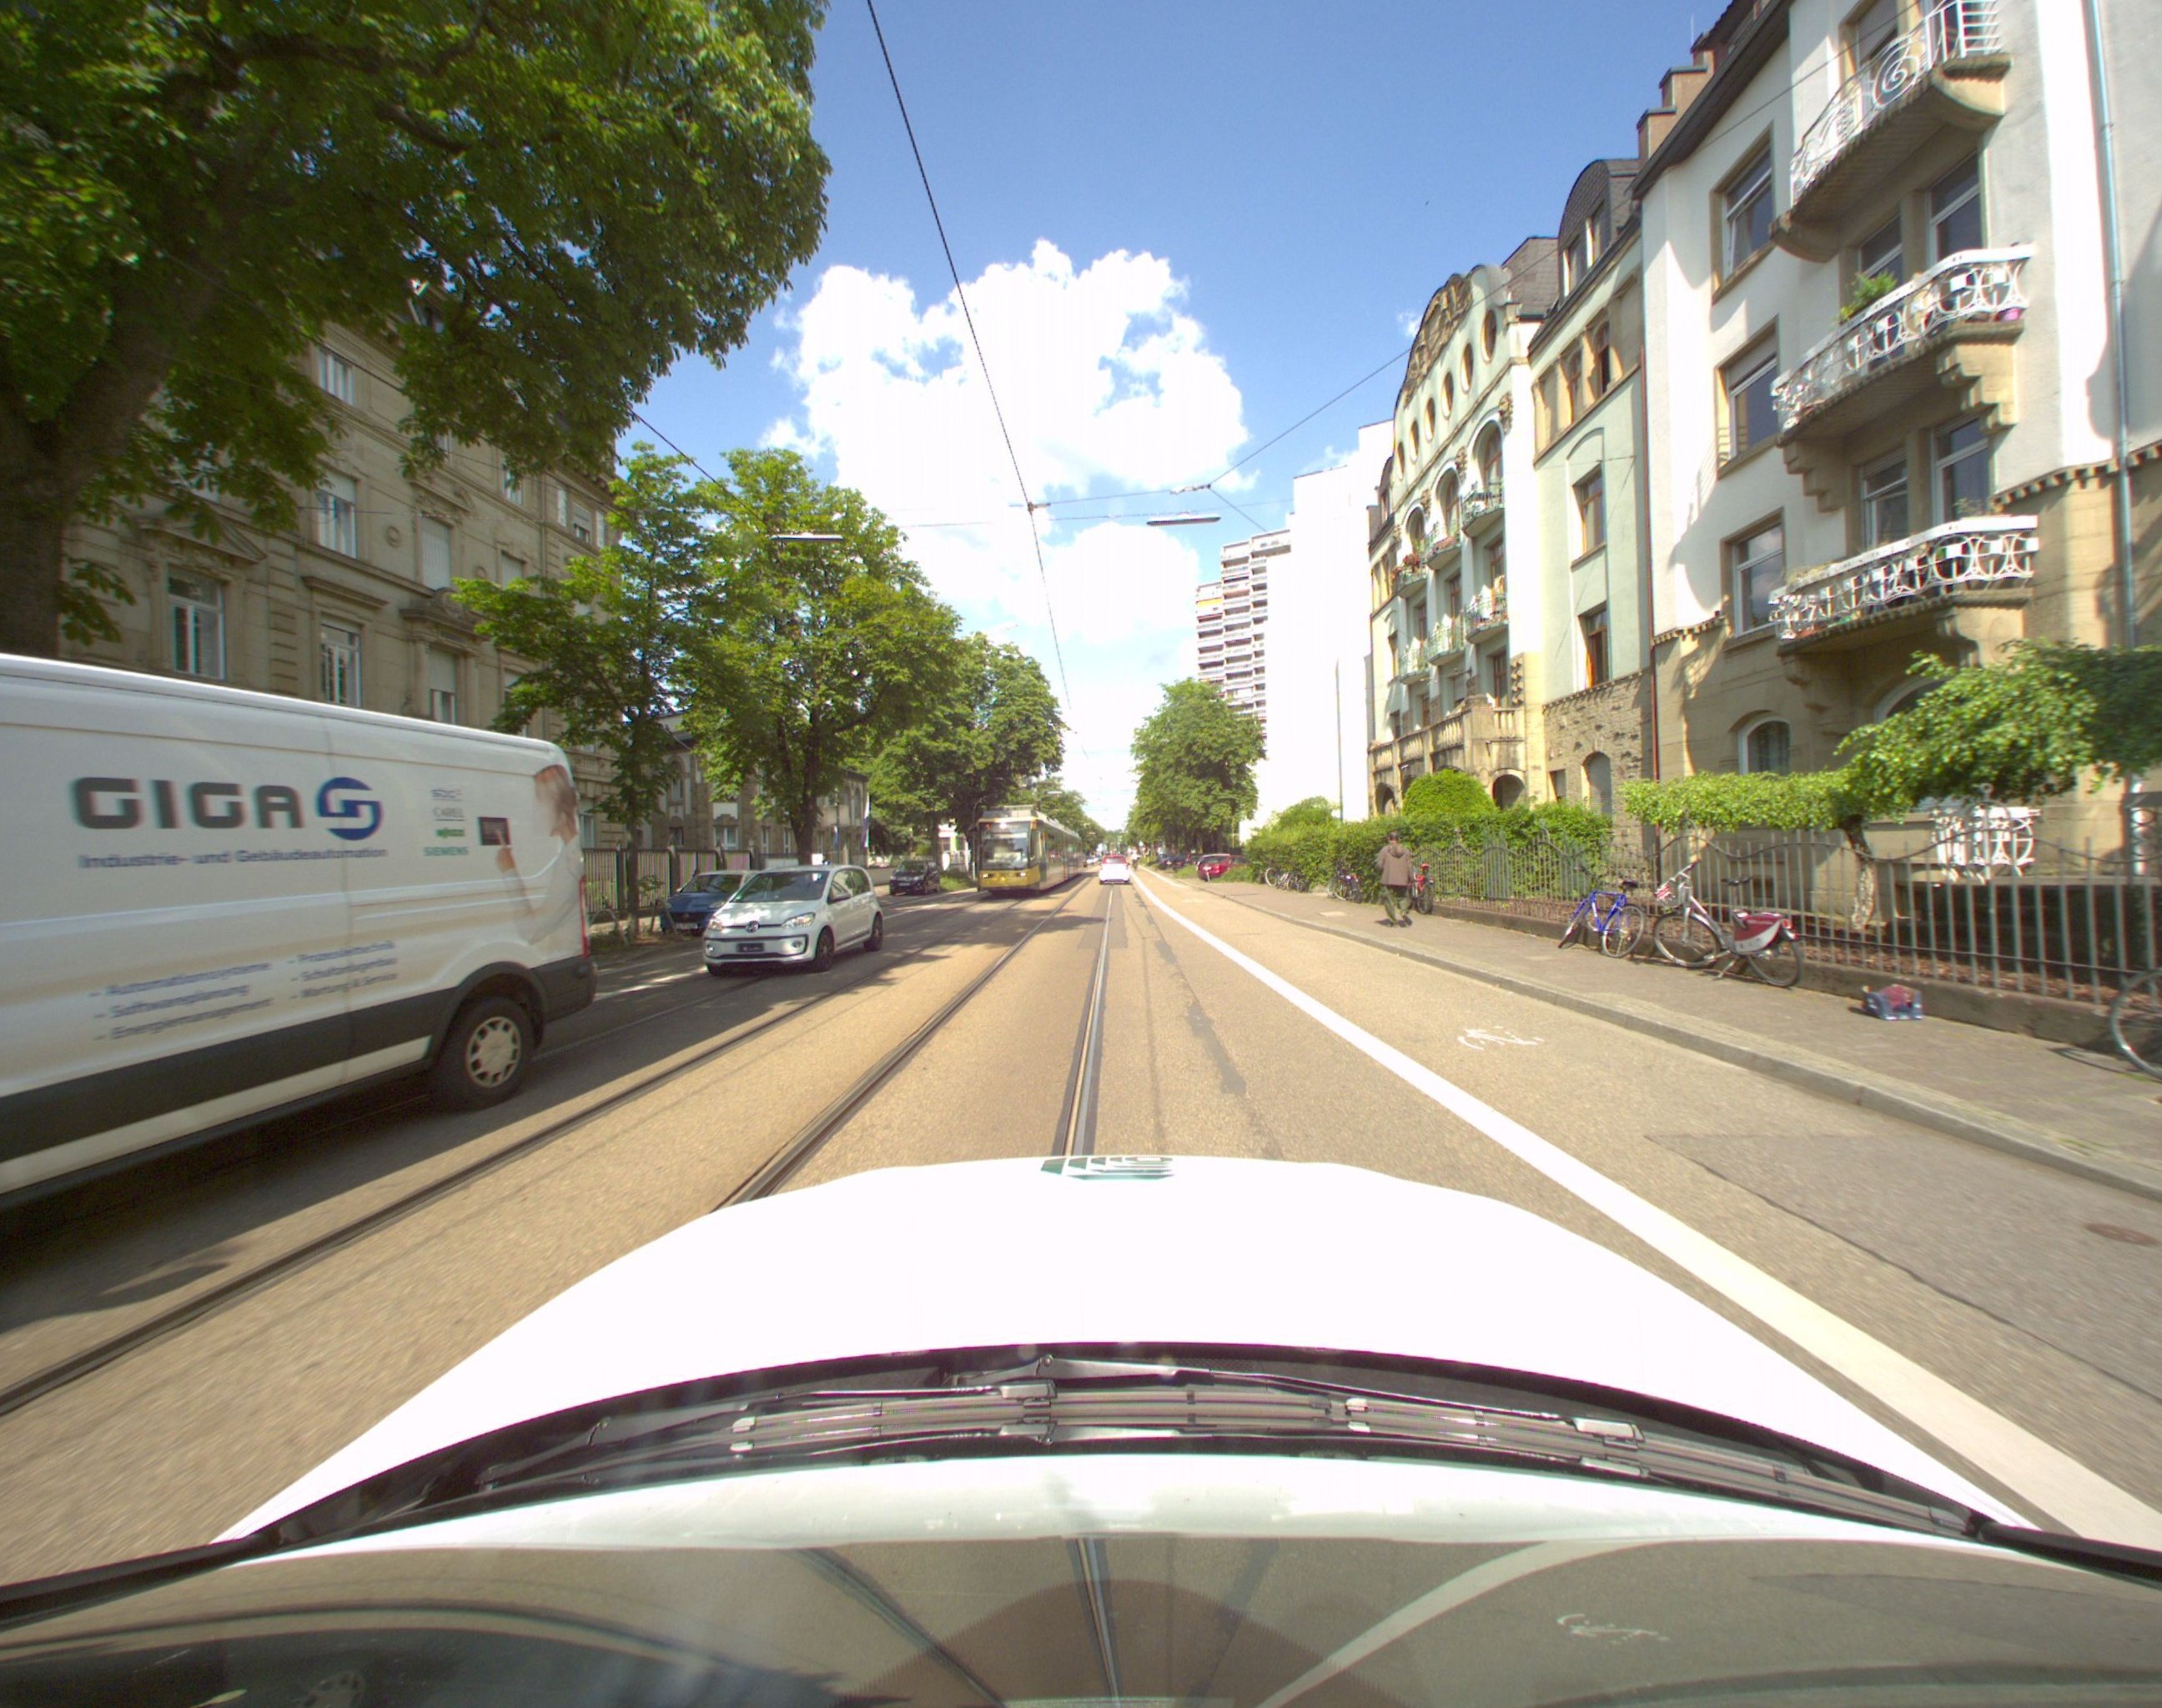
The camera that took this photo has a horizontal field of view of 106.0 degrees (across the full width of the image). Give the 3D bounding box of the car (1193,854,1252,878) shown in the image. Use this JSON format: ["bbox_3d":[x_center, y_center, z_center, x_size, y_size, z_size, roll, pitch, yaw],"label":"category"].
[{"bbox_3d":[8.958,0.738,51.325,4.022,1.461,1.517,0,0,-43],"label":"car"}]

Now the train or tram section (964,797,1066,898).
[{"bbox_3d":[-2.460,-0.184,35.025,2.642,3.436,12.322,-3,-1,3],"label":"train or tram section"}]

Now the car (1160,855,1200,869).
[{"bbox_3d":[10.638,0.877,87.462,4.261,1.420,1.705,-1,1,-36],"label":"car"}]

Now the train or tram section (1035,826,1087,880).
[{"bbox_3d":[-1.245,0.015,59.519,2.642,3.356,14.117,-3,-1,3],"label":"train or tram section"}]

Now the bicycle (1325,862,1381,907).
[{"bbox_3d":[6.747,0.728,20.294,0.608,0.996,2.363,-4,-1,2],"label":"bicycle"}]

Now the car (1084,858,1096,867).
[{"bbox_3d":[1.480,1.460,135.256,1.766,1.416,3.853,-4,-1,2],"label":"car"}]

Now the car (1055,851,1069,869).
[{"bbox_3d":[-2.942,0.881,124.899,1.762,2.639,5.325,0,-1,2],"label":"car"}]

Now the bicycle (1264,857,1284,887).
[{"bbox_3d":[7.450,0.677,31.512,0.278,1.109,2.012,-5,-1,2],"label":"bicycle"}]

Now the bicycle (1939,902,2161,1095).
[{"bbox_3d":[6.286,0.837,4.105,0.597,0.961,3.065,-5,0,-1],"label":"bicycle"}]

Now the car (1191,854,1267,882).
[{"bbox_3d":[8.174,0.750,44.779,4.182,1.423,1.845,-1,-1,-40],"label":"car"}]

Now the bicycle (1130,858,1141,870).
[{"bbox_3d":[5.100,0.917,76.260,0.870,1.126,2.141,0,-1,8],"label":"bicycle"}]

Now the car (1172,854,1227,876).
[{"bbox_3d":[8.884,0.803,60.989,4.020,1.575,1.883,1,0,-40],"label":"car"}]

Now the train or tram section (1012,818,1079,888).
[{"bbox_3d":[-1.829,0.013,46.821,2.642,3.389,11.480,-3,-1,3],"label":"train or tram section"}]

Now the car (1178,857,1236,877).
[{"bbox_3d":[9.004,0.901,58.045,4.198,1.349,1.882,1,-1,-43],"label":"car"}]

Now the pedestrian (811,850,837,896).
[{"bbox_3d":[-11.373,0.825,36.067,0.821,2.014,0.826,0,-1,2],"label":"pedestrian"}]

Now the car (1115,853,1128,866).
[{"bbox_3d":[5.223,0.668,105.417,1.659,1.624,3.622,-2,0,2],"label":"car"}]

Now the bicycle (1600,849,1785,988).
[{"bbox_3d":[6.260,0.594,8.477,0.449,1.261,1.843,-4,0,-1],"label":"bicycle"}]

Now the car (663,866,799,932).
[{"bbox_3d":[-8.635,1.054,20.449,1.648,1.485,3.810,1,-1,2],"label":"car"}]

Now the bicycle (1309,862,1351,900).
[{"bbox_3d":[6.923,0.724,22.691,0.610,0.989,1.873,-3,-1,2],"label":"bicycle"}]

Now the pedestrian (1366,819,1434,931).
[{"bbox_3d":[5.584,0.367,14.302,0.786,1.861,0.579,-5,0,-5],"label":"pedestrian"}]

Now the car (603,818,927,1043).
[{"bbox_3d":[-4.208,0.872,12.461,2.308,2.507,6.364,-1,0,1],"label":"car"}]

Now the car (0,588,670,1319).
[{"bbox_3d":[-4.823,0.351,3.742,2.306,2.507,6.368,-1,1,3],"label":"car"}]

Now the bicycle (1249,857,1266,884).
[{"bbox_3d":[7.590,0.710,35.029,0.278,1.109,2.012,-5,-1,2],"label":"bicycle"}]

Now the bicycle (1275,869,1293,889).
[{"bbox_3d":[7.380,0.902,29.598,0.278,0.677,1.560,-5,-1,2],"label":"bicycle"}]

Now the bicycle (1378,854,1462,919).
[{"bbox_3d":[6.938,0.637,16.817,0.737,1.231,2.517,-1,-1,2],"label":"bicycle"}]

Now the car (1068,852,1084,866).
[{"bbox_3d":[-0.622,0.625,103.411,1.819,1.727,4.392,1,-1,1],"label":"car"}]

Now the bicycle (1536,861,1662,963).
[{"bbox_3d":[6.500,0.678,10.330,0.449,1.122,1.846,-4,0,3],"label":"bicycle"}]

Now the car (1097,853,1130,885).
[{"bbox_3d":[1.764,0.750,43.502,1.658,1.624,3.623,0,0,3],"label":"car"}]

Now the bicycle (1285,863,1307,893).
[{"bbox_3d":[7.230,0.782,27.431,0.272,0.907,1.669,-5,1,2],"label":"bicycle"}]

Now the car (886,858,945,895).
[{"bbox_3d":[-7.833,1.051,38.865,1.800,1.641,4.333,0,-1,2],"label":"car"}]

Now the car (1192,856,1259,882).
[{"bbox_3d":[8.537,0.836,47.944,4.021,1.448,1.679,0,0,-40],"label":"car"}]

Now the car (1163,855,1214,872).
[{"bbox_3d":[9.373,0.858,70.929,4.561,1.442,2.007,1,-1,-43],"label":"car"}]

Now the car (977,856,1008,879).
[{"bbox_3d":[-6.697,0.996,62.089,1.744,1.665,4.722,0,-1,1],"label":"car"}]

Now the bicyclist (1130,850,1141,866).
[{"bbox_3d":[5.139,0.381,76.380,0.885,1.529,1.087,0,-1,8],"label":"bicyclist"}]
